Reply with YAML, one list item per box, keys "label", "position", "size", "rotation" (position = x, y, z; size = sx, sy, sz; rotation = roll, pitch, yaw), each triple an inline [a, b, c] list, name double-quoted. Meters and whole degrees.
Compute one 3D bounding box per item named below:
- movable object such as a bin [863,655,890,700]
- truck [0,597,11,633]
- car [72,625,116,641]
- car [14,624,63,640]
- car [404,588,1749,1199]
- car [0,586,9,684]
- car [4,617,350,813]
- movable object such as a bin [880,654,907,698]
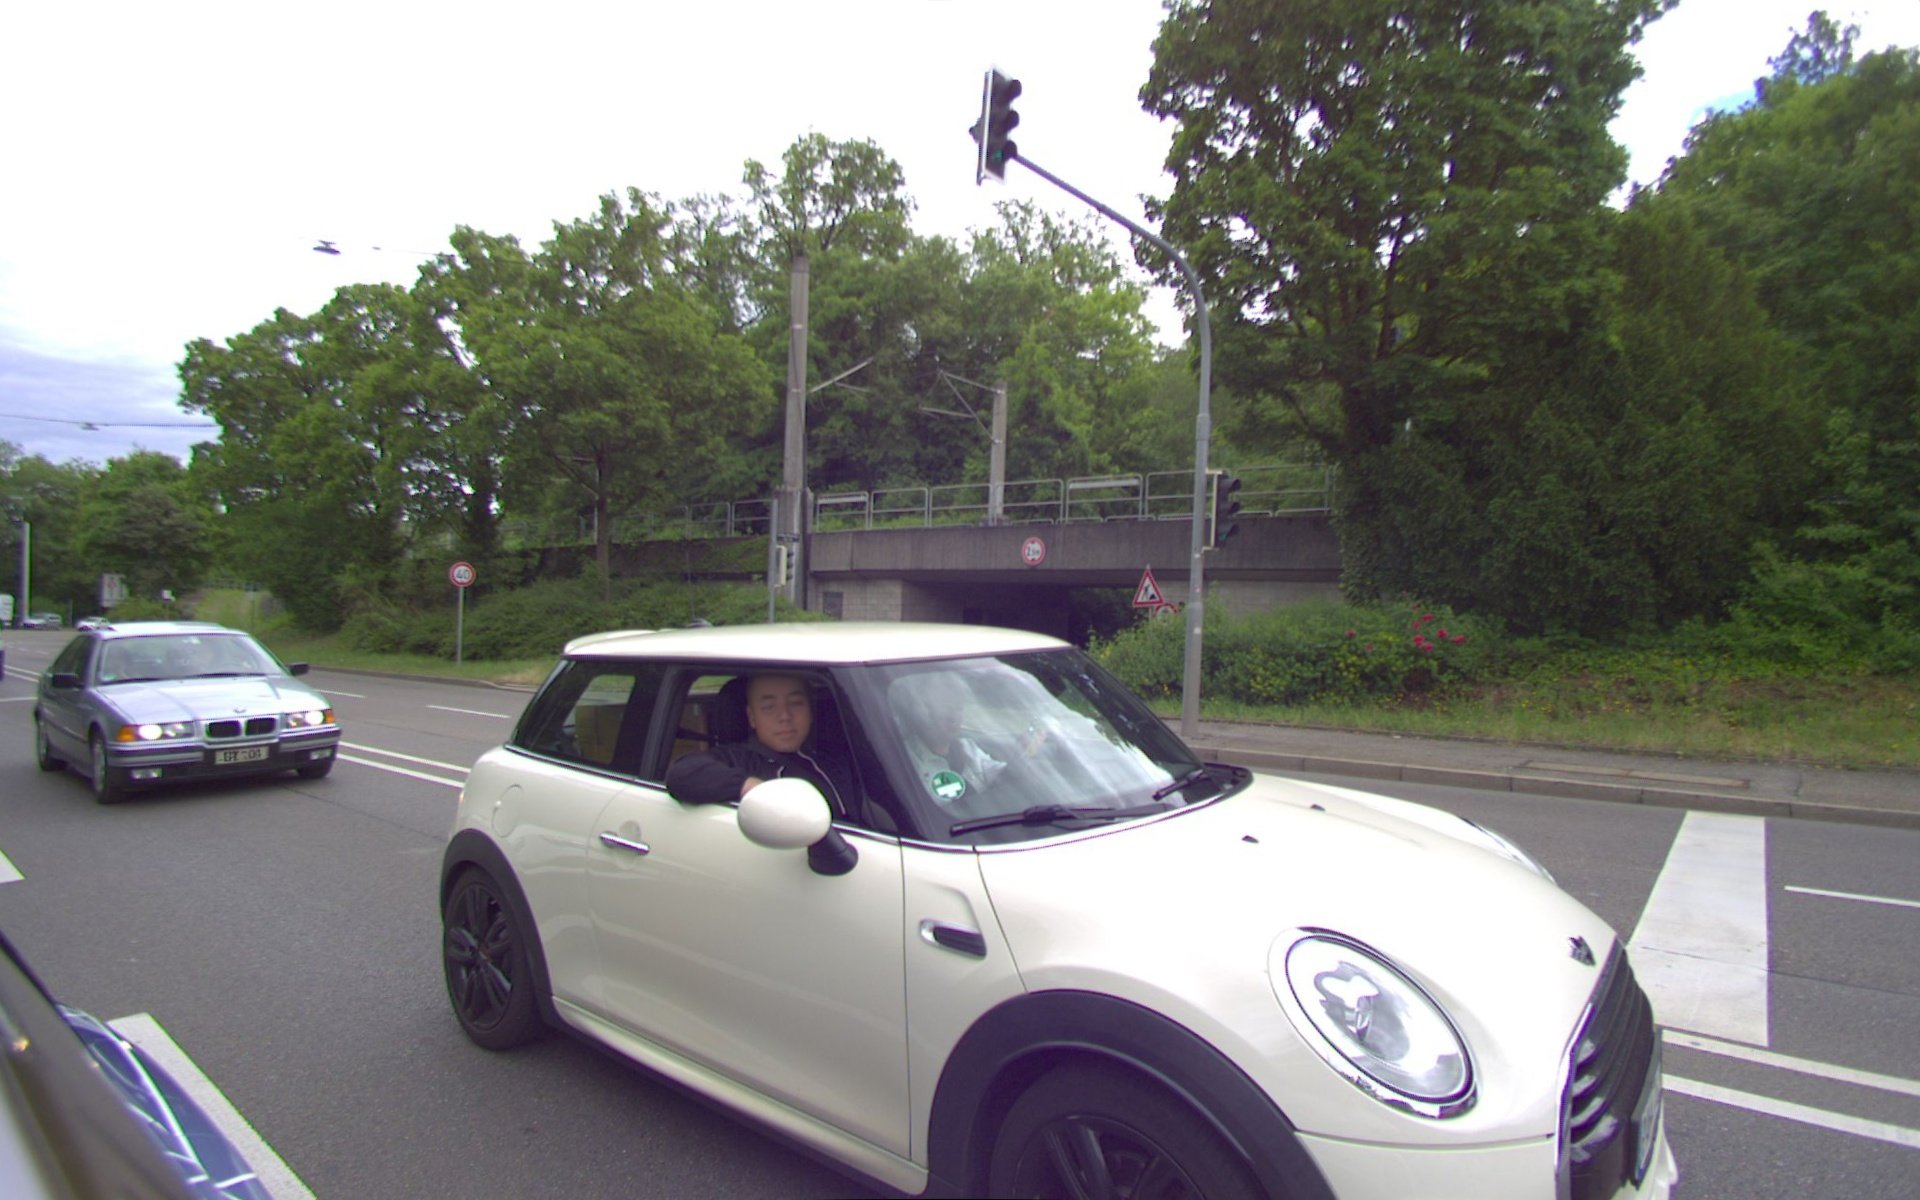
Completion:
- label: "movable object such as a bin"
  position: [-2.055, 1.889, 24.857]
  size: [0.503, 1.071, 0.414]
  rotation: [-1, -3, 36]
- label: "truck"
  position: [-86.881, 1.219, 88.948]
  size: [2.164, 3.180, 6.670]
  rotation: [2, -3, -17]
- label: "car"
  position: [-86.752, 3.309, 101.406]
  size: [1.727, 1.372, 4.022]
  rotation: [4, -4, -16]
- label: "car"
  position: [-89.721, 3.137, 98.596]
  size: [1.727, 1.372, 4.021]
  rotation: [4, -4, -15]
- label: "car"
  position: [-0.018, 0.736, 3.050]
  size: [3.729, 1.434, 1.667]
  rotation: [-1, -1, 40]
- label: "car"
  position: [-24.846, 0.835, 24.310]
  size: [6.454, 2.217, 2.256]
  rotation: [-1, -1, 41]
- label: "car"
  position: [-7.291, 0.871, 9.268]
  size: [4.179, 1.401, 1.643]
  rotation: [-1, -1, 40]
- label: "movable object such as a bin"
  position: [-1.673, 1.911, 25.424]
  size: [0.503, 1.071, 0.414]
  rotation: [-1, -3, 36]
